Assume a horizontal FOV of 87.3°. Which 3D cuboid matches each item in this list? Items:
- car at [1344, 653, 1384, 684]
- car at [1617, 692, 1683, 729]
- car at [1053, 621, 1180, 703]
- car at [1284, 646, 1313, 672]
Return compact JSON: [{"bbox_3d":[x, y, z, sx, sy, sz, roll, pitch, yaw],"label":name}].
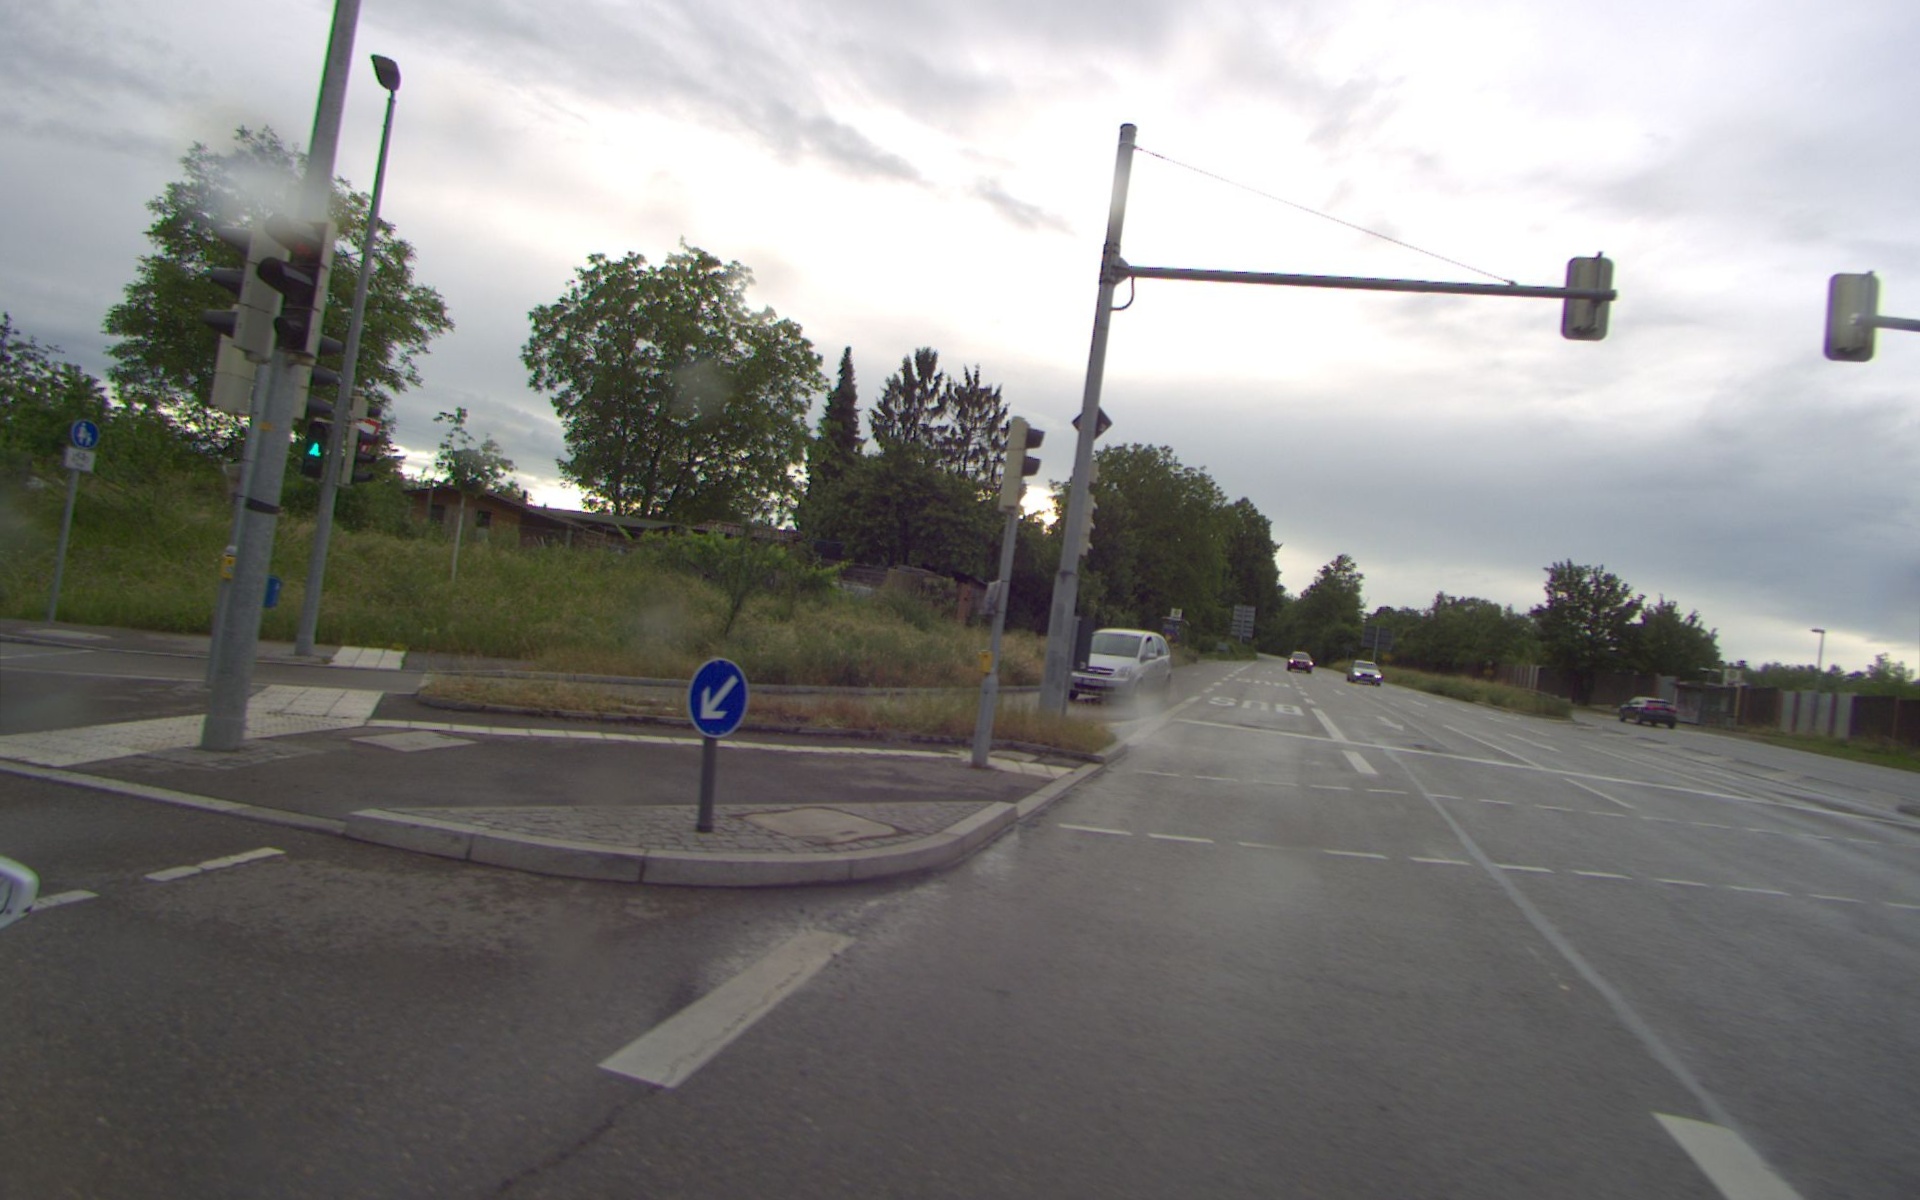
[{"bbox_3d":[26.267,4.413,65.521,1.789,1.694,4.002,8,0,16],"label":"car"},{"bbox_3d":[36.871,5.885,53.888,1.694,1.518,3.827,8,0,18],"label":"car"},{"bbox_3d":[3.689,1.411,23.070,1.791,1.623,4.060,2,-2,25],"label":"car"},{"bbox_3d":[26.195,4.574,77.918,1.789,1.694,4.012,8,0,17],"label":"car"}]
